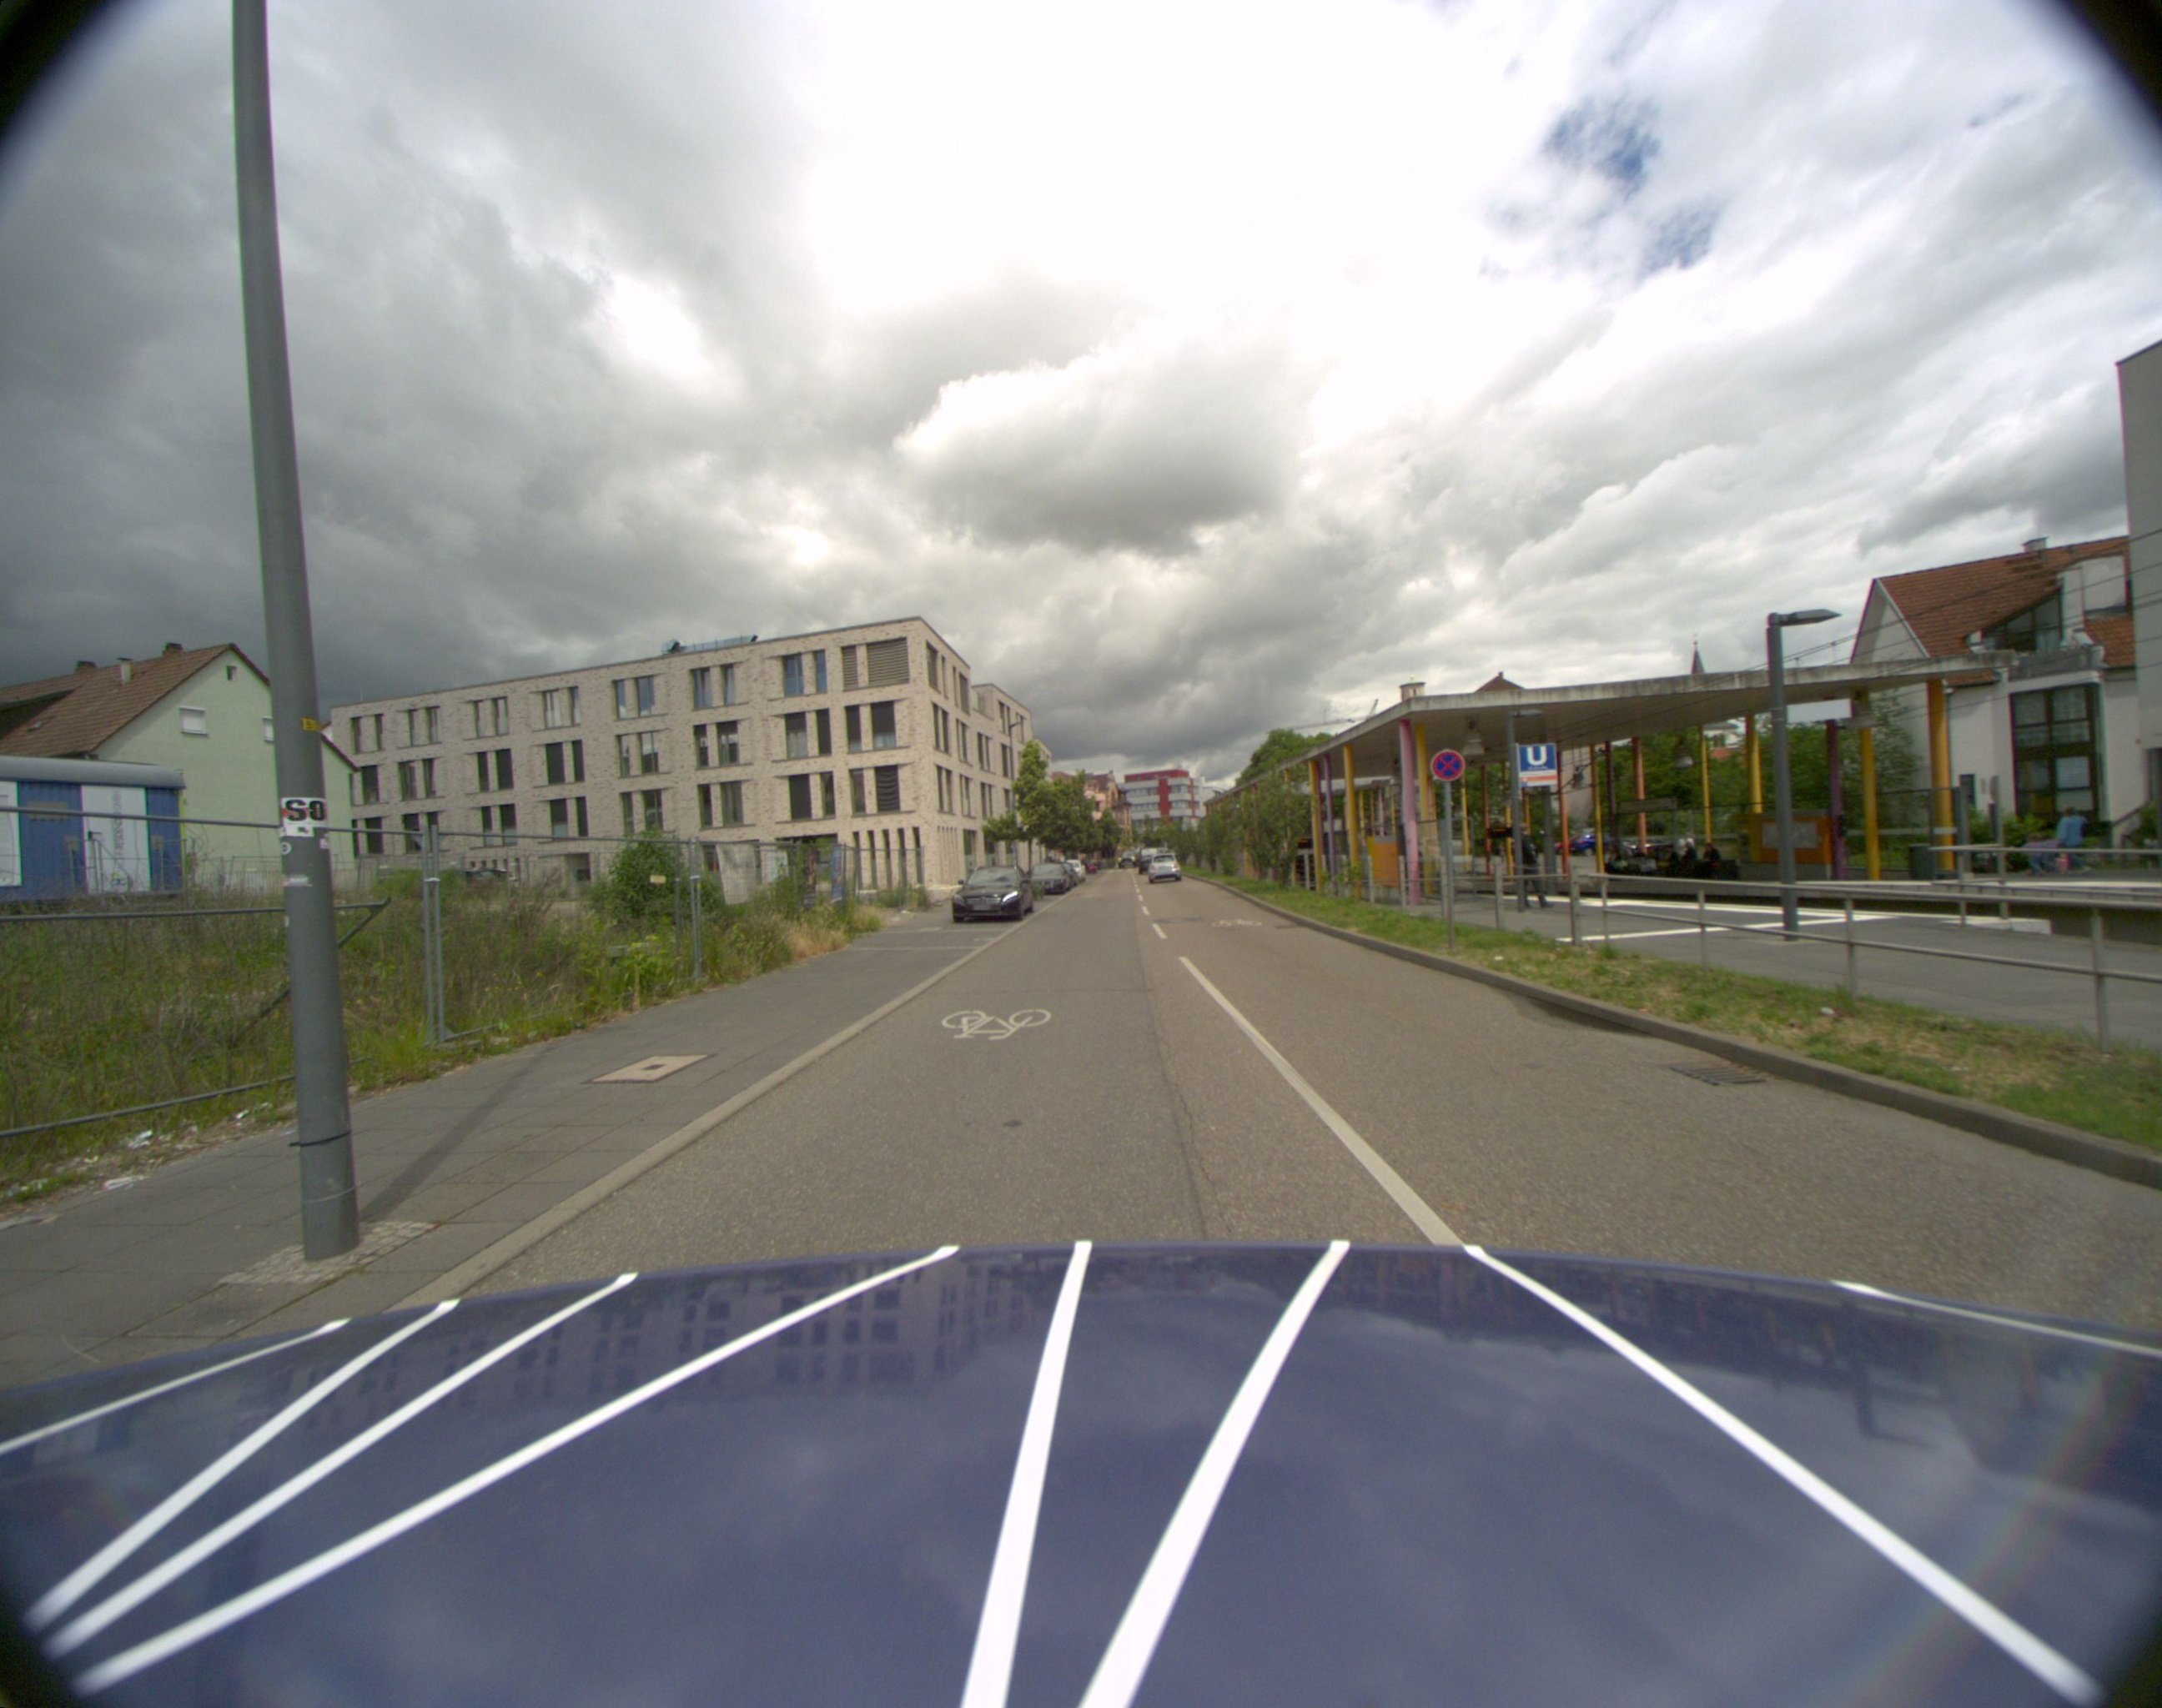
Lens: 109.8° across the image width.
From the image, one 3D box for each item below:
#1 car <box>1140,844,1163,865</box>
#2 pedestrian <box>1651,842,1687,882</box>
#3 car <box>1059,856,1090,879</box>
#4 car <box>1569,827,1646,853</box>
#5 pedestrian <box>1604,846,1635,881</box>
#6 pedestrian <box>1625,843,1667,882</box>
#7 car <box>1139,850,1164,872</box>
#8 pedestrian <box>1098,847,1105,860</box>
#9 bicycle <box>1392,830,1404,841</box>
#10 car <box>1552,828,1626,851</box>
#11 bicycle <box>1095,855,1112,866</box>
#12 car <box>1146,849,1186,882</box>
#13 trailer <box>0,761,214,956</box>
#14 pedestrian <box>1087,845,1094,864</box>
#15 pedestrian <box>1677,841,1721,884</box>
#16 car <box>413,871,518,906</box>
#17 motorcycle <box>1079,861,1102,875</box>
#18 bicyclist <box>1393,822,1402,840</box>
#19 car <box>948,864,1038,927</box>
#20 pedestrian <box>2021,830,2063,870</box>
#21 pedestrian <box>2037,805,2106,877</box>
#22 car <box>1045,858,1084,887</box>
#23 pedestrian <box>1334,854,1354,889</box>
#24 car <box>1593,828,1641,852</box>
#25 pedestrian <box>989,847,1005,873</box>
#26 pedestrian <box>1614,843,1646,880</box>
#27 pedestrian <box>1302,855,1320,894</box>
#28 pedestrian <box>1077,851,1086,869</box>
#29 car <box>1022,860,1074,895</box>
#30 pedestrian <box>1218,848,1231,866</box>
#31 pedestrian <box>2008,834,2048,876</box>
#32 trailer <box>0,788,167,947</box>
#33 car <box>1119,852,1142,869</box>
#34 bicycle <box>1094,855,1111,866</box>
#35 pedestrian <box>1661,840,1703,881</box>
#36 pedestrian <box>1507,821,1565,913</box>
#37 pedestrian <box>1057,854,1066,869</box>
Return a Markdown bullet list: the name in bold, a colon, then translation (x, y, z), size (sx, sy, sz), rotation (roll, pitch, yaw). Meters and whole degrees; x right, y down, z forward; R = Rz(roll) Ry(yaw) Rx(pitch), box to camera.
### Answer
- **car**: translation (7.329, -0.004, 78.757), size (2.008, 1.906, 5.067), rotation (-5, 0, 7)
- **pedestrian**: translation (21.324, 0.280, 27.567), size (0.653, 1.371, 0.702), rotation (-5, 0, 4)
- **car**: translation (-0.409, 0.897, 52.181), size (1.696, 1.475, 3.799), rotation (-2, 0, 6)
- **car**: translation (35.562, -0.956, 51.424), size (3.992, 1.393, 1.571), rotation (-4, 2, 19)
- **pedestrian**: translation (21.782, 0.387, 30.743), size (0.687, 1.371, 0.705), rotation (-5, 0, 4)
- **pedestrian**: translation (21.313, 0.328, 28.667), size (0.929, 1.371, 0.702), rotation (-5, 0, 4)
- **car**: translation (5.581, 0.500, 60.528), size (1.728, 1.512, 4.255), rotation (-6, 0, 3)
- **pedestrian**: translation (2.696, -0.090, 99.923), size (0.659, 1.731, 1.018), rotation (-3, 1, 10)
- **bicycle**: translation (28.945, -1.683, 69.336), size (0.484, 0.957, 1.613), rotation (-5, 2, 6)
- **car**: translation (36.215, -1.038, 54.288), size (3.992, 1.330, 1.727), rotation (-4, 2, 19)
- **bicycle**: translation (2.653, 0.717, 88.007), size (1.825, 1.194, 0.757), rotation (-2, 2, 11)
- **car**: translation (4.473, 0.565, 40.450), size (1.775, 1.499, 4.001), rotation (-6, 0, 3)
- **trailer**: translation (-18.542, 0.126, 11.781), size (2.407, 3.104, 6.168), rotation (-2, 0, 17)
- **pedestrian**: translation (0.919, 0.040, 75.498), size (0.623, 1.756, 0.737), rotation (-3, 2, 0)
- **pedestrian**: translation (21.068, 0.281, 25.897), size (0.824, 1.371, 0.702), rotation (-5, 0, 4)
- **car**: translation (-29.431, 1.634, 36.354), size (4.252, 1.596, 1.872), rotation (-1, 0, 18)
- **motorcycle**: translation (0.930, 1.345, 73.255), size (2.052, 1.259, 0.673), rotation (-1, 2, 22)
- **bicyclist**: translation (28.905, -2.134, 69.334), size (0.484, 1.584, 0.681), rotation (-5, 2, 6)
- **car**: translation (-2.326, 1.074, 21.287), size (1.786, 1.443, 4.476), rotation (-2, 0, 2)
- **pedestrian**: translation (25.338, -0.103, 20.040), size (0.364, 1.017, 0.562), rotation (-5, 2, 6)
- **pedestrian**: translation (24.271, -0.329, 18.635), size (0.686, 1.675, 0.724), rotation (-5, 2, 6)
- **car**: translation (-0.908, 0.999, 43.047), size (1.696, 1.452, 4.148), rotation (-2, 0, 5)
- **pedestrian**: translation (12.527, 0.838, 36.211), size (0.631, 1.604, 0.636), rotation (-5, 0, 5)
- **car**: translation (42.468, -1.133, 60.294), size (1.911, 1.566, 4.003), rotation (-4, 2, 17)
- **pedestrian**: translation (-4.882, 0.357, 44.234), size (0.608, 1.464, 0.791), rotation (-2, 0, 12)
- **pedestrian**: translation (21.570, 0.304, 29.858), size (0.653, 1.371, 0.702), rotation (-5, 0, 4)
- **pedestrian**: translation (11.109, 0.990, 36.755), size (0.588, 1.820, 0.710), rotation (-5, 2, 6)
- **pedestrian**: translation (0.039, 0.603, 76.464), size (0.757, 1.756, 0.734), rotation (-3, 2, -2)
- **car**: translation (-1.470, 1.053, 35.676), size (1.869, 1.442, 4.644), rotation (-2, 0, 4)
- **pedestrian**: translation (12.847, 0.267, 68.201), size (0.929, 1.556, 0.815), rotation (-5, 2, 2)
- **pedestrian**: translation (23.480, 0.018, 18.849), size (0.364, 0.984, 0.492), rotation (-5, 2, 6)
- **trailer**: translation (-23.893, 0.363, 16.628), size (6.149, 3.104, 2.414), rotation (-2, 1, 14)
- **car**: translation (5.543, 0.713, 84.961), size (1.802, 1.571, 4.002), rotation (-5, 2, 14)
- **bicycle**: translation (2.477, 0.755, 87.195), size (1.825, 1.125, 0.757), rotation (-2, 2, 11)
- **pedestrian**: translation (21.191, 0.243, 26.812), size (0.824, 1.371, 0.702), rotation (-5, 0, 4)
- **pedestrian**: translation (9.565, 0.265, 15.990), size (0.782, 1.834, 0.737), rotation (-5, -1, 20)
- **pedestrian**: translation (-2.211, 0.908, 87.355), size (0.658, 1.683, 0.633), rotation (-2, 2, 45)
